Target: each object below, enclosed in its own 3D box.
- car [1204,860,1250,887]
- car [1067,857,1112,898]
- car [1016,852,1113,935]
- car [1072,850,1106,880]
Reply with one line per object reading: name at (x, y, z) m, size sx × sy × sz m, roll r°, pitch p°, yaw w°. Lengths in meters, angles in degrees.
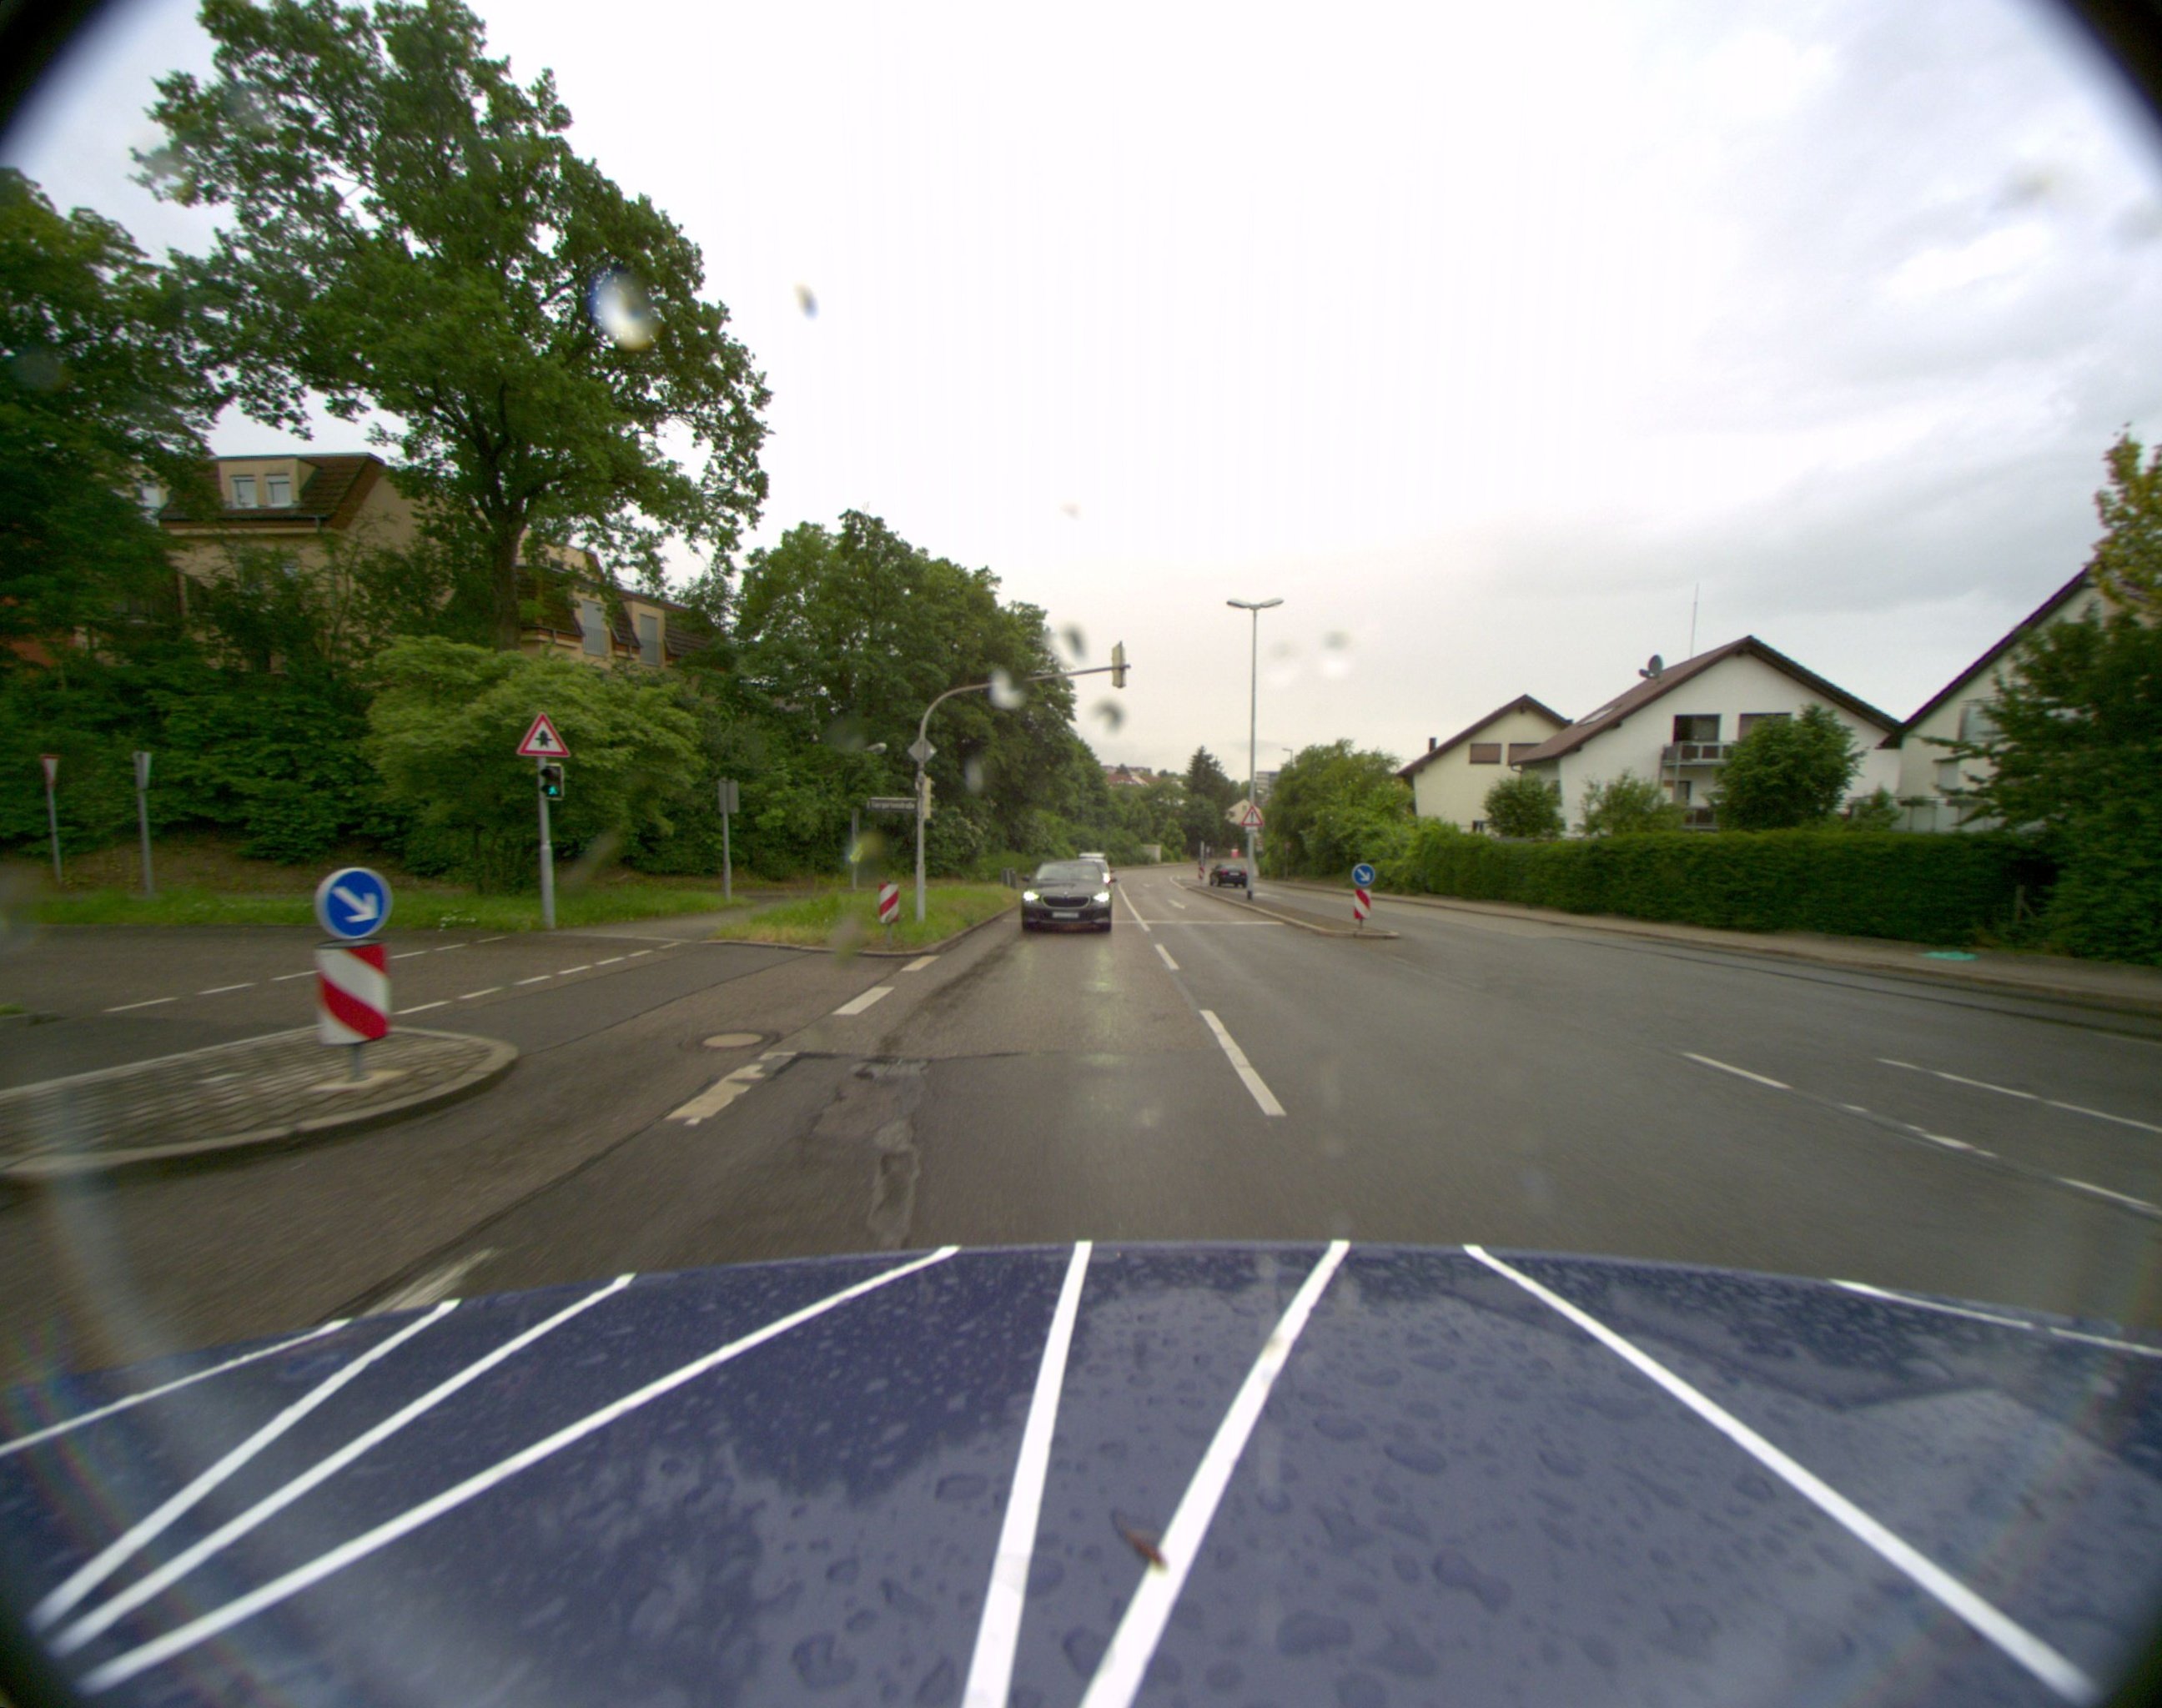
car at (8.566, 1.116, 44.943) m, size 1.867 × 1.484 × 3.833 m, roll 2°, pitch 0°, yaw -1°
car at (0.420, 0.970, 33.212) m, size 1.814 × 1.546 × 4.120 m, roll 2°, pitch 1°, yaw 2°
car at (-0.244, 0.776, 17.123) m, size 1.867 × 1.547 × 4.119 m, roll 2°, pitch 1°, yaw 2°
car at (0.561, 0.674, 48.777) m, size 1.813 × 1.797 × 4.121 m, roll 2°, pitch 1°, yaw 6°
